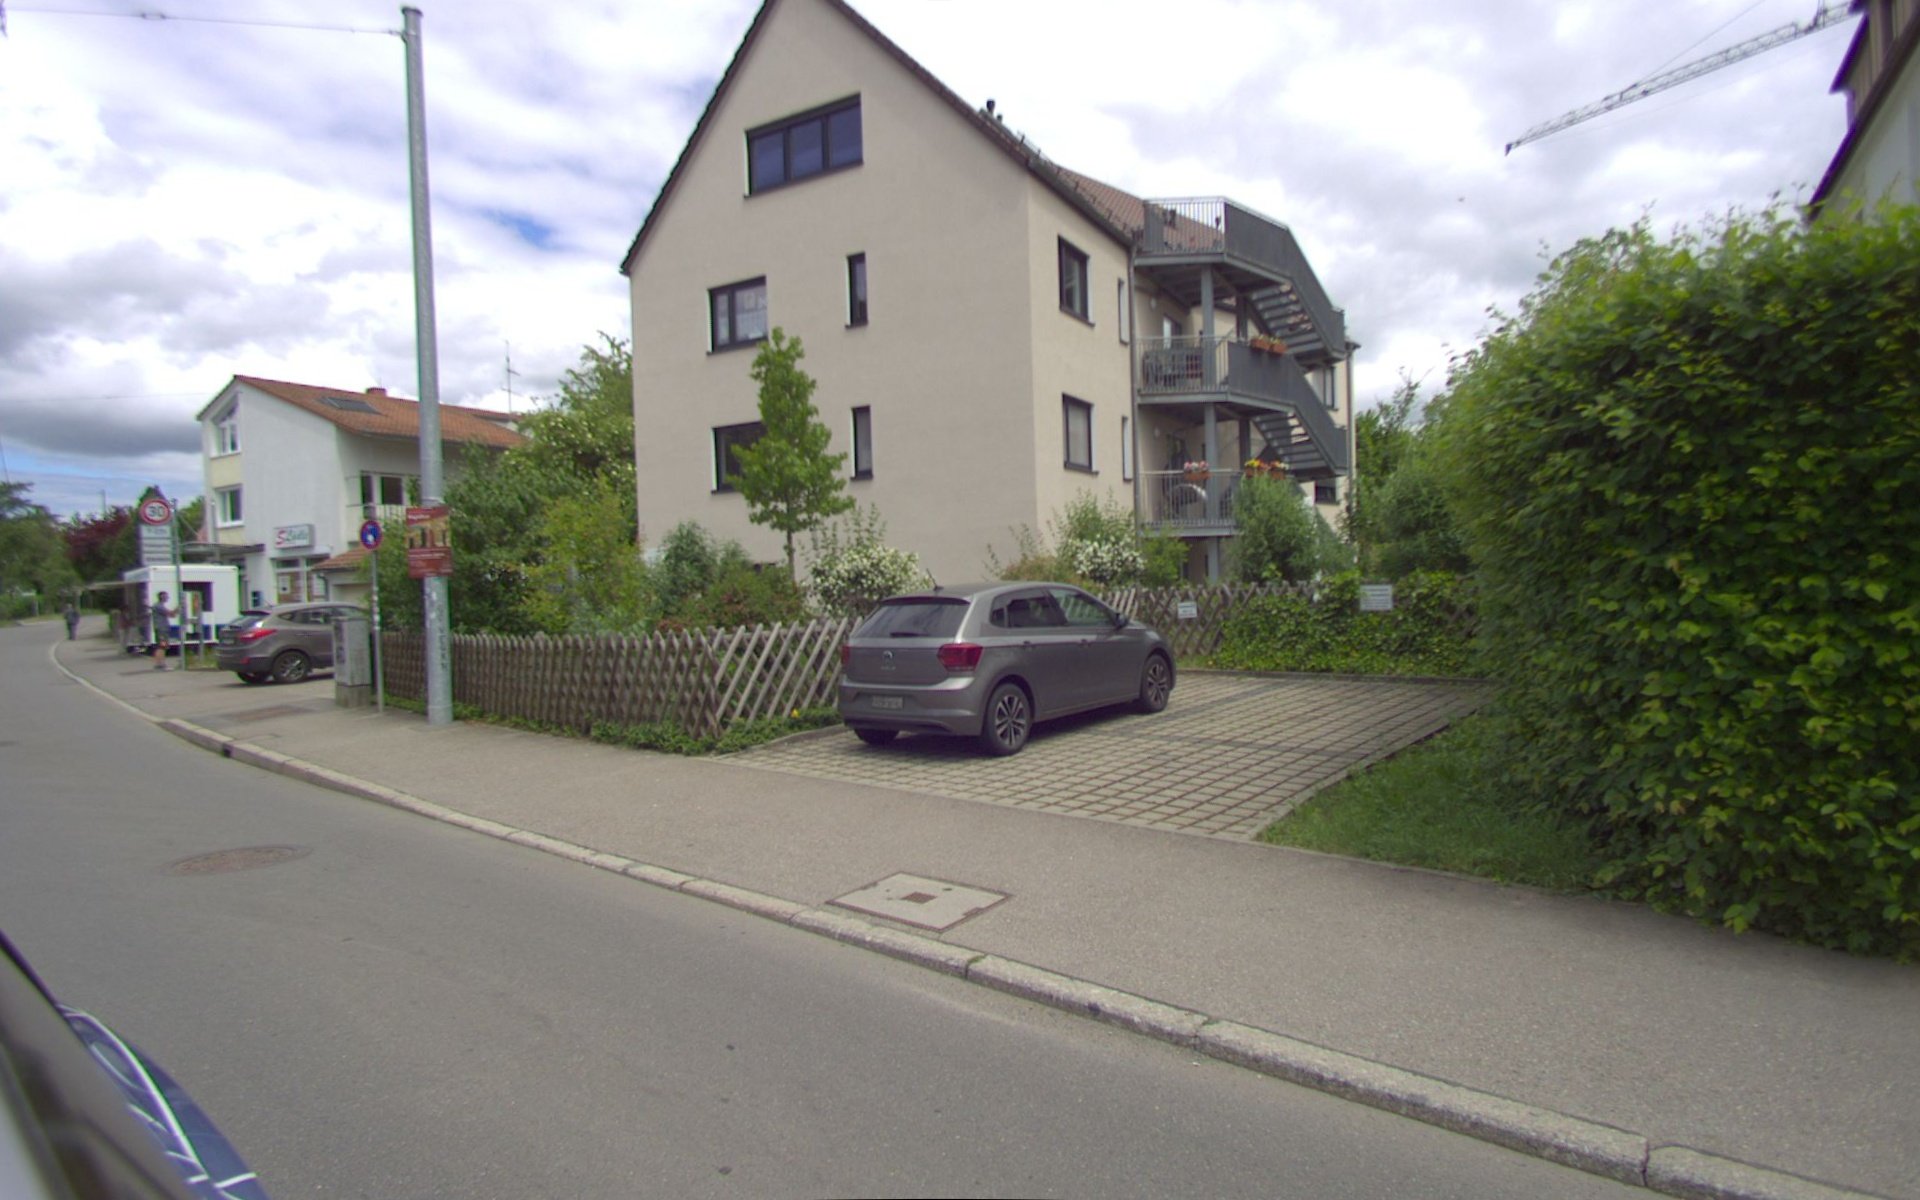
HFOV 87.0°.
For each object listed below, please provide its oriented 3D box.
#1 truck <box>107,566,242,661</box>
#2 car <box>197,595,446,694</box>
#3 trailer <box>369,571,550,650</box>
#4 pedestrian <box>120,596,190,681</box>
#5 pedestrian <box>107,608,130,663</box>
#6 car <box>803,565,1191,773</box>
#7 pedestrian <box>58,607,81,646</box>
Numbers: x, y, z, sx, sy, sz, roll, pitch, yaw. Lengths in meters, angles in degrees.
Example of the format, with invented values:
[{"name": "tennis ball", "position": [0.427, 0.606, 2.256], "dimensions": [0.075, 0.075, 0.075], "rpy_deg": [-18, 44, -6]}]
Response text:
[{"name": "truck", "position": [-26.402, 0.387, 33.889], "dimensions": [6.707, 2.861, 2.446], "rpy_deg": [0, 2, 43]}, {"name": "car", "position": [-14.105, 0.906, 22.606], "dimensions": [1.792, 1.708, 4.279], "rpy_deg": [-1, 3, 33]}, {"name": "trailer", "position": [-15.909, 0.294, 32.413], "dimensions": [1.703, 2.095, 4.812], "rpy_deg": [-3, 2, 41]}, {"name": "pedestrian", "position": [-19.877, 0.924, 24.991], "dimensions": [1.199, 1.960, 0.736], "rpy_deg": [-5, 3, -42]}, {"name": "pedestrian", "position": [-27.036, 1.128, 32.506], "dimensions": [0.597, 1.707, 0.397], "rpy_deg": [-1, 3, 42]}, {"name": "car", "position": [0.507, 0.492, 9.764], "dimensions": [1.817, 1.444, 3.634], "rpy_deg": [-1, 4, 41]}, {"name": "pedestrian", "position": [-42.957, 1.271, 48.792], "dimensions": [0.714, 1.698, 1.111], "rpy_deg": [-5, 8, -42]}]
